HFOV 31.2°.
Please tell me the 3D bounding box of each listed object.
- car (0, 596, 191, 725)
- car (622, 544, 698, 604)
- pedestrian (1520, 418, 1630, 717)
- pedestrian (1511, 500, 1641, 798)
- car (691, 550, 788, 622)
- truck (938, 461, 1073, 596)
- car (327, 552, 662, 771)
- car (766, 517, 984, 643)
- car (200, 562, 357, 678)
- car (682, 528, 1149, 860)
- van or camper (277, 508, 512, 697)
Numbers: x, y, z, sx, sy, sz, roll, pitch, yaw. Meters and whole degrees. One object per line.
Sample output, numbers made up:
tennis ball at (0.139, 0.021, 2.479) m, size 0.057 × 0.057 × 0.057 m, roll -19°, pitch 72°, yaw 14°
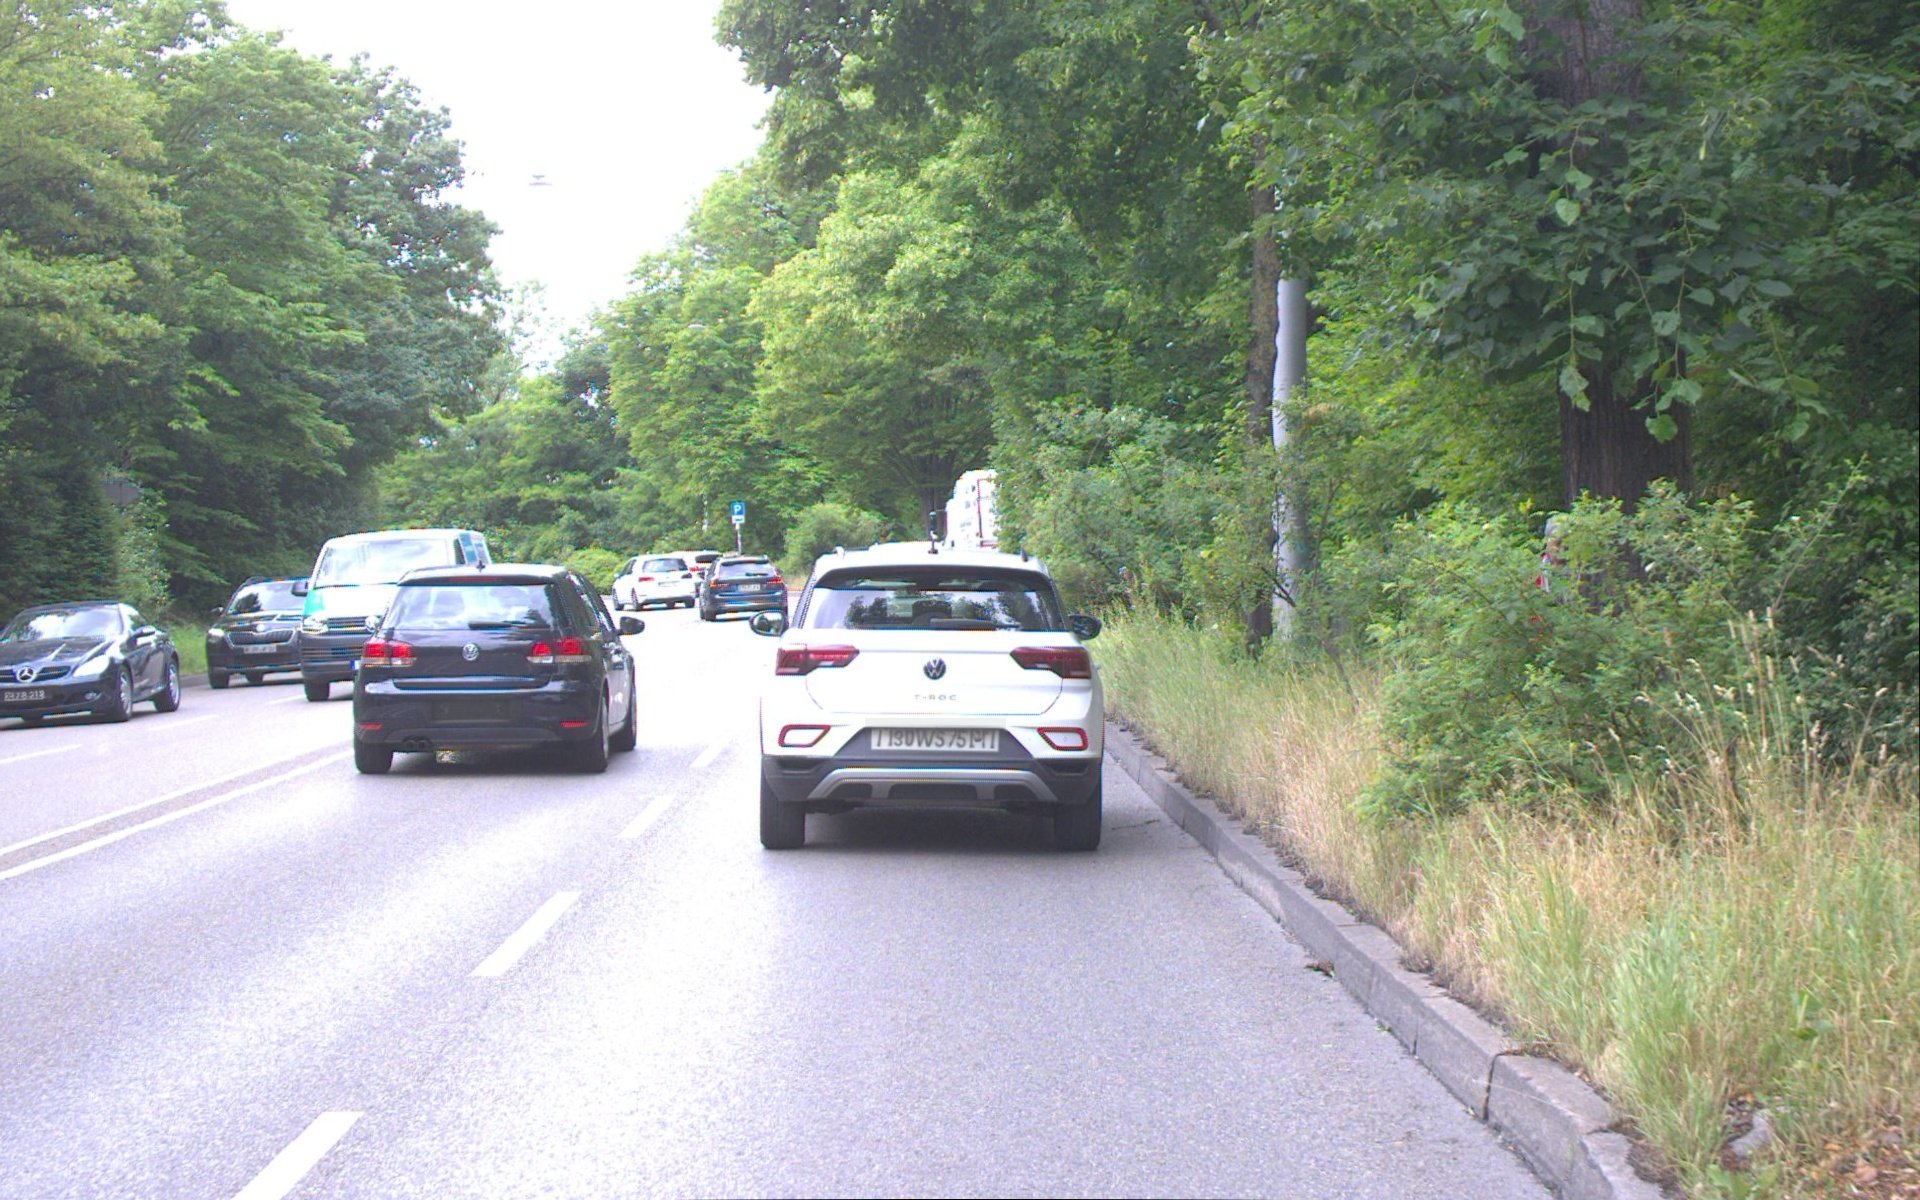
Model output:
car at (-9.697, 0.622, 37.532) m, size 1.767 × 1.306 × 4.000 m, roll 0°, pitch 0°, yaw -1°
car at (-8.344, -0.720, 95.940) m, size 1.821 × 1.617 × 4.000 m, roll 0°, pitch 0°, yaw -1°
pedestrian at (3.649, -0.192, 20.411) m, size 0.519 × 1.747 × 0.525 m, roll 0°, pitch 0°, yaw -4°
pedestrian at (3.547, 0.276, 19.828) m, size 0.608 × 1.692 × 0.549 m, roll 0°, pitch 0°, yaw -4°
car at (-4.994, -0.316, 78.435) m, size 1.993 × 1.587 × 4.000 m, roll 0°, pitch 0°, yaw -1°
truck at (1.056, -1.722, 85.193) m, size 2.481 × 3.171 × 7.230 m, roll 0°, pitch 0°, yaw -6°
car at (-3.301, 0.399, 25.106) m, size 1.949 × 1.461 × 4.000 m, roll 0°, pitch 0°, yaw -1°
car at (-1.315, -0.317, 51.050) m, size 1.851 × 1.697 × 4.001 m, roll -4°, pitch 2°, yaw -22°
car at (-9.744, 0.260, 49.379) m, size 1.475 × 1.590 × 4.000 m, roll 0°, pitch 0°, yaw 0°
car at (-0.367, 0.453, 18.831) m, size 2.000 × 1.590 × 4.001 m, roll 1°, pitch 0°, yaw -9°
van or camper at (-6.750, 0.016, 41.596) m, size 1.993 × 2.007 × 5.369 m, roll -4°, pitch 0°, yaw -2°
